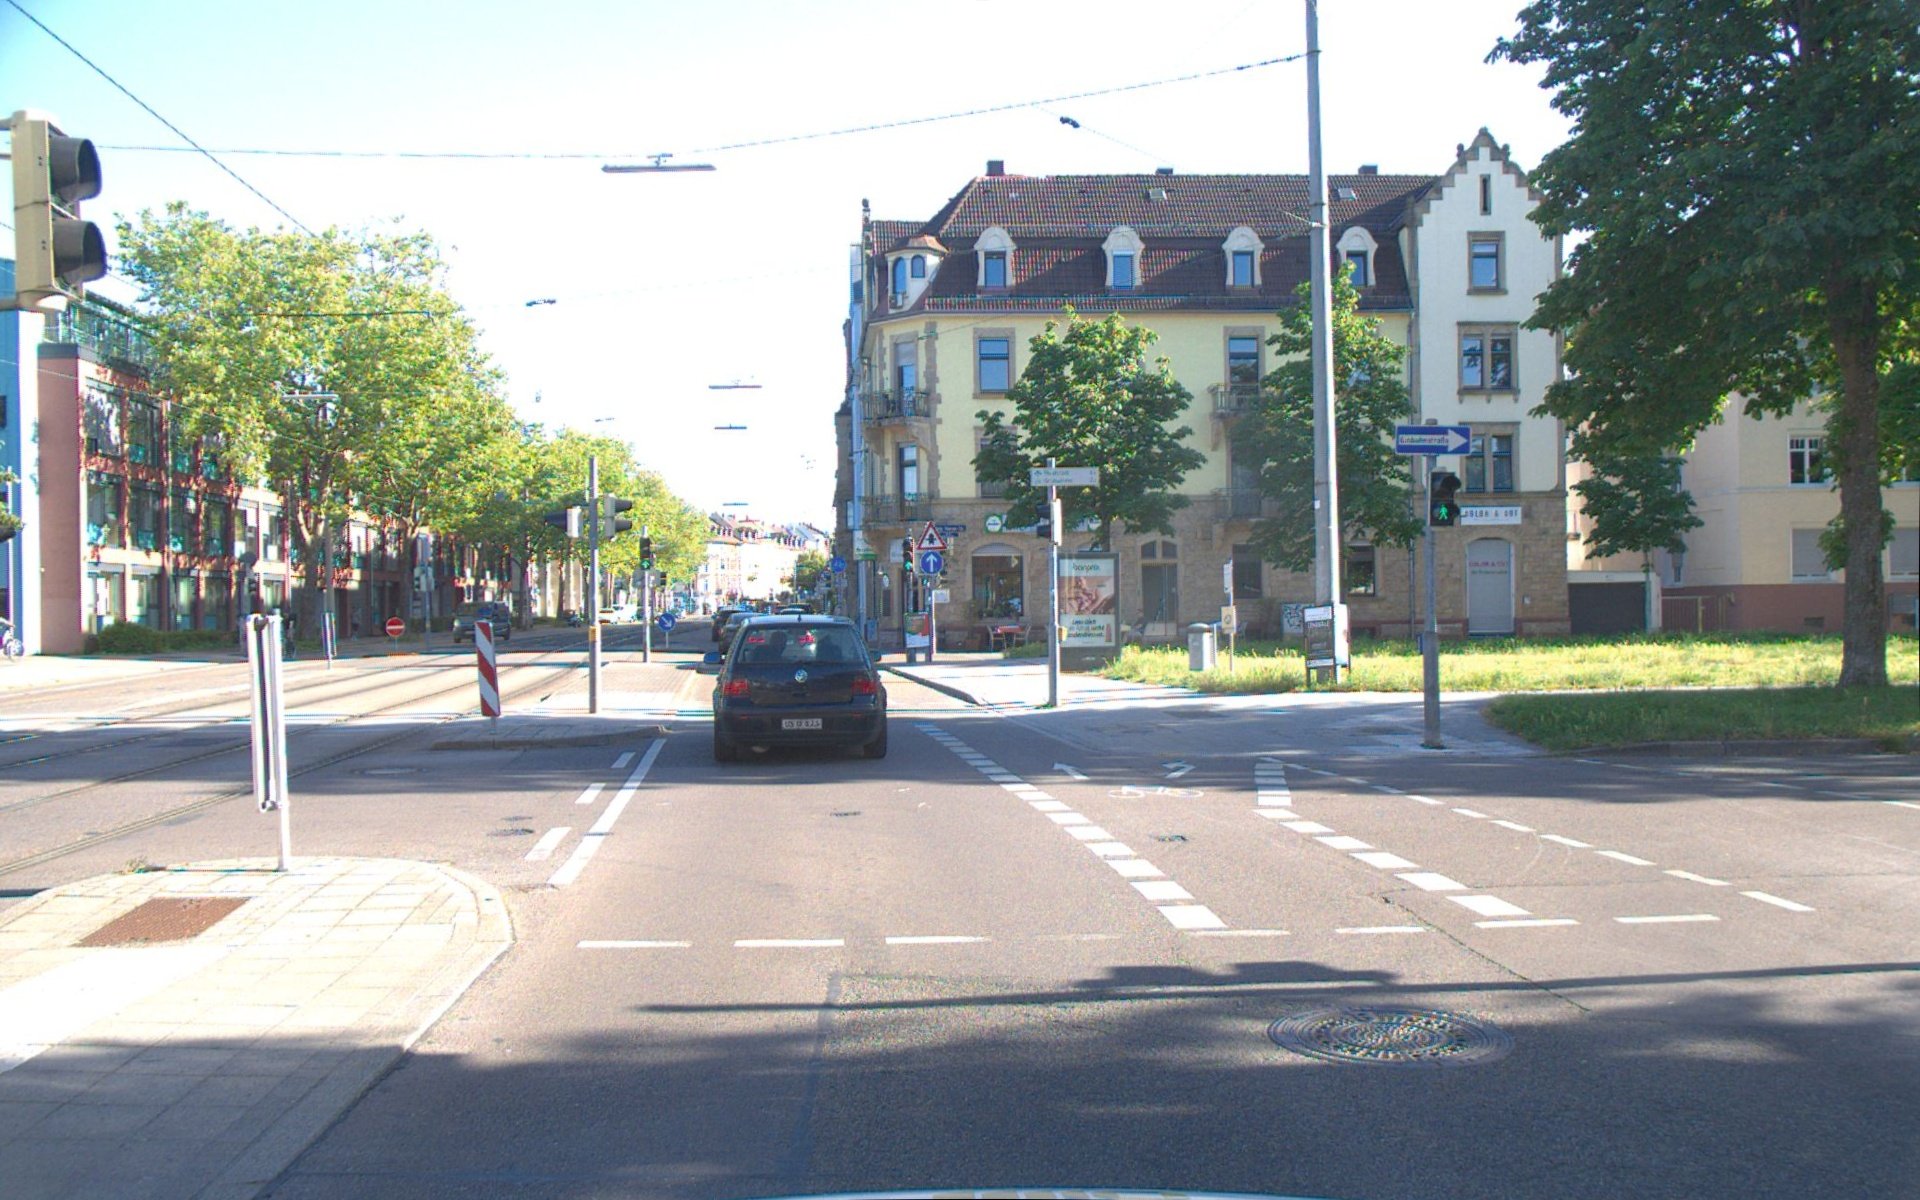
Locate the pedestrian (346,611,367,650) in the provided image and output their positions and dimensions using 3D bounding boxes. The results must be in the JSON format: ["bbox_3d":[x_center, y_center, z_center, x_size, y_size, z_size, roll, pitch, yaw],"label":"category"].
[{"bbox_3d":[-31.506,1.592,86.306,0.895,2.049,0.778,1,-1,-14],"label":"pedestrian"}]

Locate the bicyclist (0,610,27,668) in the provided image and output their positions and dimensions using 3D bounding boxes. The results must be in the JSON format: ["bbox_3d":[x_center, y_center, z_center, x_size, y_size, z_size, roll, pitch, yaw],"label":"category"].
[{"bbox_3d":[-29.027,1.177,50.320,0.592,1.722,0.933,1,-1,20],"label":"bicyclist"}]

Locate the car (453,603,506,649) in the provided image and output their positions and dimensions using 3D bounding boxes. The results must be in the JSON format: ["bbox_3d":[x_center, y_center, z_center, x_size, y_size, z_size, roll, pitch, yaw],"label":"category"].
[{"bbox_3d":[-23.646,1.243,81.527,1.984,2.048,5.236,-2,1,-11],"label":"car"}]

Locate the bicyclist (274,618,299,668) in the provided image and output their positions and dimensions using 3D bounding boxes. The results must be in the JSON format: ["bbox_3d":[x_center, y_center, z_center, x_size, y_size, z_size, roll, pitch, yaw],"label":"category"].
[{"bbox_3d":[-24.211,1.535,59.499,0.576,1.740,0.900,-2,0,-8],"label":"bicyclist"}]

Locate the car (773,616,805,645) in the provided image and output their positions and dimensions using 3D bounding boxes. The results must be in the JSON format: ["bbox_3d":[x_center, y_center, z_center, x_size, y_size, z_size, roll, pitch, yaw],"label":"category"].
[{"bbox_3d":[-9.062,1.592,87.817,1.623,1.508,3.995,0,-1,-6],"label":"car"}]

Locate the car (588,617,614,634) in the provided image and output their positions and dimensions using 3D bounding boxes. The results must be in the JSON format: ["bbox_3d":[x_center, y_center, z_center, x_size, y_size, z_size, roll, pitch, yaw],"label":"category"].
[{"bbox_3d":[-35.523,2.512,163.813,1.973,1.600,4.686,1,0,-6],"label":"car"}]

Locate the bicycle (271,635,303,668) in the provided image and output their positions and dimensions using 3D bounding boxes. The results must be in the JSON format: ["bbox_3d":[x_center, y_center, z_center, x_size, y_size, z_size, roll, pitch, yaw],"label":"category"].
[{"bbox_3d":[-24.198,1.839,59.482,0.576,1.133,1.823,-2,0,-8],"label":"bicycle"}]

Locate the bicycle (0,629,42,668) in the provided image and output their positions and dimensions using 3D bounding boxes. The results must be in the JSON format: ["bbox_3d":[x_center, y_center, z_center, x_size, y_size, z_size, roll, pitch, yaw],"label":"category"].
[{"bbox_3d":[-29.034,1.478,50.315,0.618,1.149,2.036,1,0,20],"label":"bicycle"}]

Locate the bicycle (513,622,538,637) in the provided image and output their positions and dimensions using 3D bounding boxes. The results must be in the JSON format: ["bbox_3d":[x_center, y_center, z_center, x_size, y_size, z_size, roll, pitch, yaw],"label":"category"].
[{"bbox_3d":[-38.233,2.614,145.502,1.969,1.301,0.663,1,0,-5],"label":"bicycle"}]

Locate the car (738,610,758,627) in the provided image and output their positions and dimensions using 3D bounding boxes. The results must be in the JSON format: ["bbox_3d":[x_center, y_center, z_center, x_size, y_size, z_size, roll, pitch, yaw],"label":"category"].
[{"bbox_3d":[-19.259,1.701,150.104,1.604,1.498,3.725,-1,0,-5],"label":"car"}]

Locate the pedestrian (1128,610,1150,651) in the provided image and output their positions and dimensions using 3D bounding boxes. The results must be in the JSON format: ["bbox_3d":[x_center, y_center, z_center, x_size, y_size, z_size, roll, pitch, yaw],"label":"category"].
[{"bbox_3d":[6.108,1.037,56.506,0.626,1.383,0.701,1,-1,-4],"label":"pedestrian"}]

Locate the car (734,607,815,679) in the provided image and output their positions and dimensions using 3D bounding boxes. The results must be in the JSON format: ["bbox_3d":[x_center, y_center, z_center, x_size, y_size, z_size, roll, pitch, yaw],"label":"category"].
[{"bbox_3d":[-4.297,0.954,38.707,1.714,1.564,3.888,-1,0,-5],"label":"car"}]

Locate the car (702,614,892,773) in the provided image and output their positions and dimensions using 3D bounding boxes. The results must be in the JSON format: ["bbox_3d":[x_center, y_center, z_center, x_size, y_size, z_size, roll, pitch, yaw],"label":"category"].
[{"bbox_3d":[-1.712,0.869,17.201,1.715,1.399,3.994,-1,0,-6],"label":"car"}]

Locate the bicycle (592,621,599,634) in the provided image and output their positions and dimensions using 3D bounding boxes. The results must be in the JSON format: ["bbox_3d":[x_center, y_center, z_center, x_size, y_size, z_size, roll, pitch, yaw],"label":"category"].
[{"bbox_3d":[-34.843,2.631,158.123,0.570,1.230,1.649,1,0,-11],"label":"bicycle"}]

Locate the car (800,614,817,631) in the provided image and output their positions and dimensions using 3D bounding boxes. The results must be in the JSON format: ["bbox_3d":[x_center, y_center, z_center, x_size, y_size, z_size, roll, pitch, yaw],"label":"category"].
[{"bbox_3d":[-16.632,2.455,181.584,1.725,1.870,3.543,1,0,-5],"label":"car"}]

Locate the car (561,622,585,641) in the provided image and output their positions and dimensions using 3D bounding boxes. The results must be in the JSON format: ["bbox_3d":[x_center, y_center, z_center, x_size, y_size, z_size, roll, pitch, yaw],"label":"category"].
[{"bbox_3d":[-32.642,2.695,139.681,1.478,1.479,3.459,-2,-2,-5],"label":"car"}]
